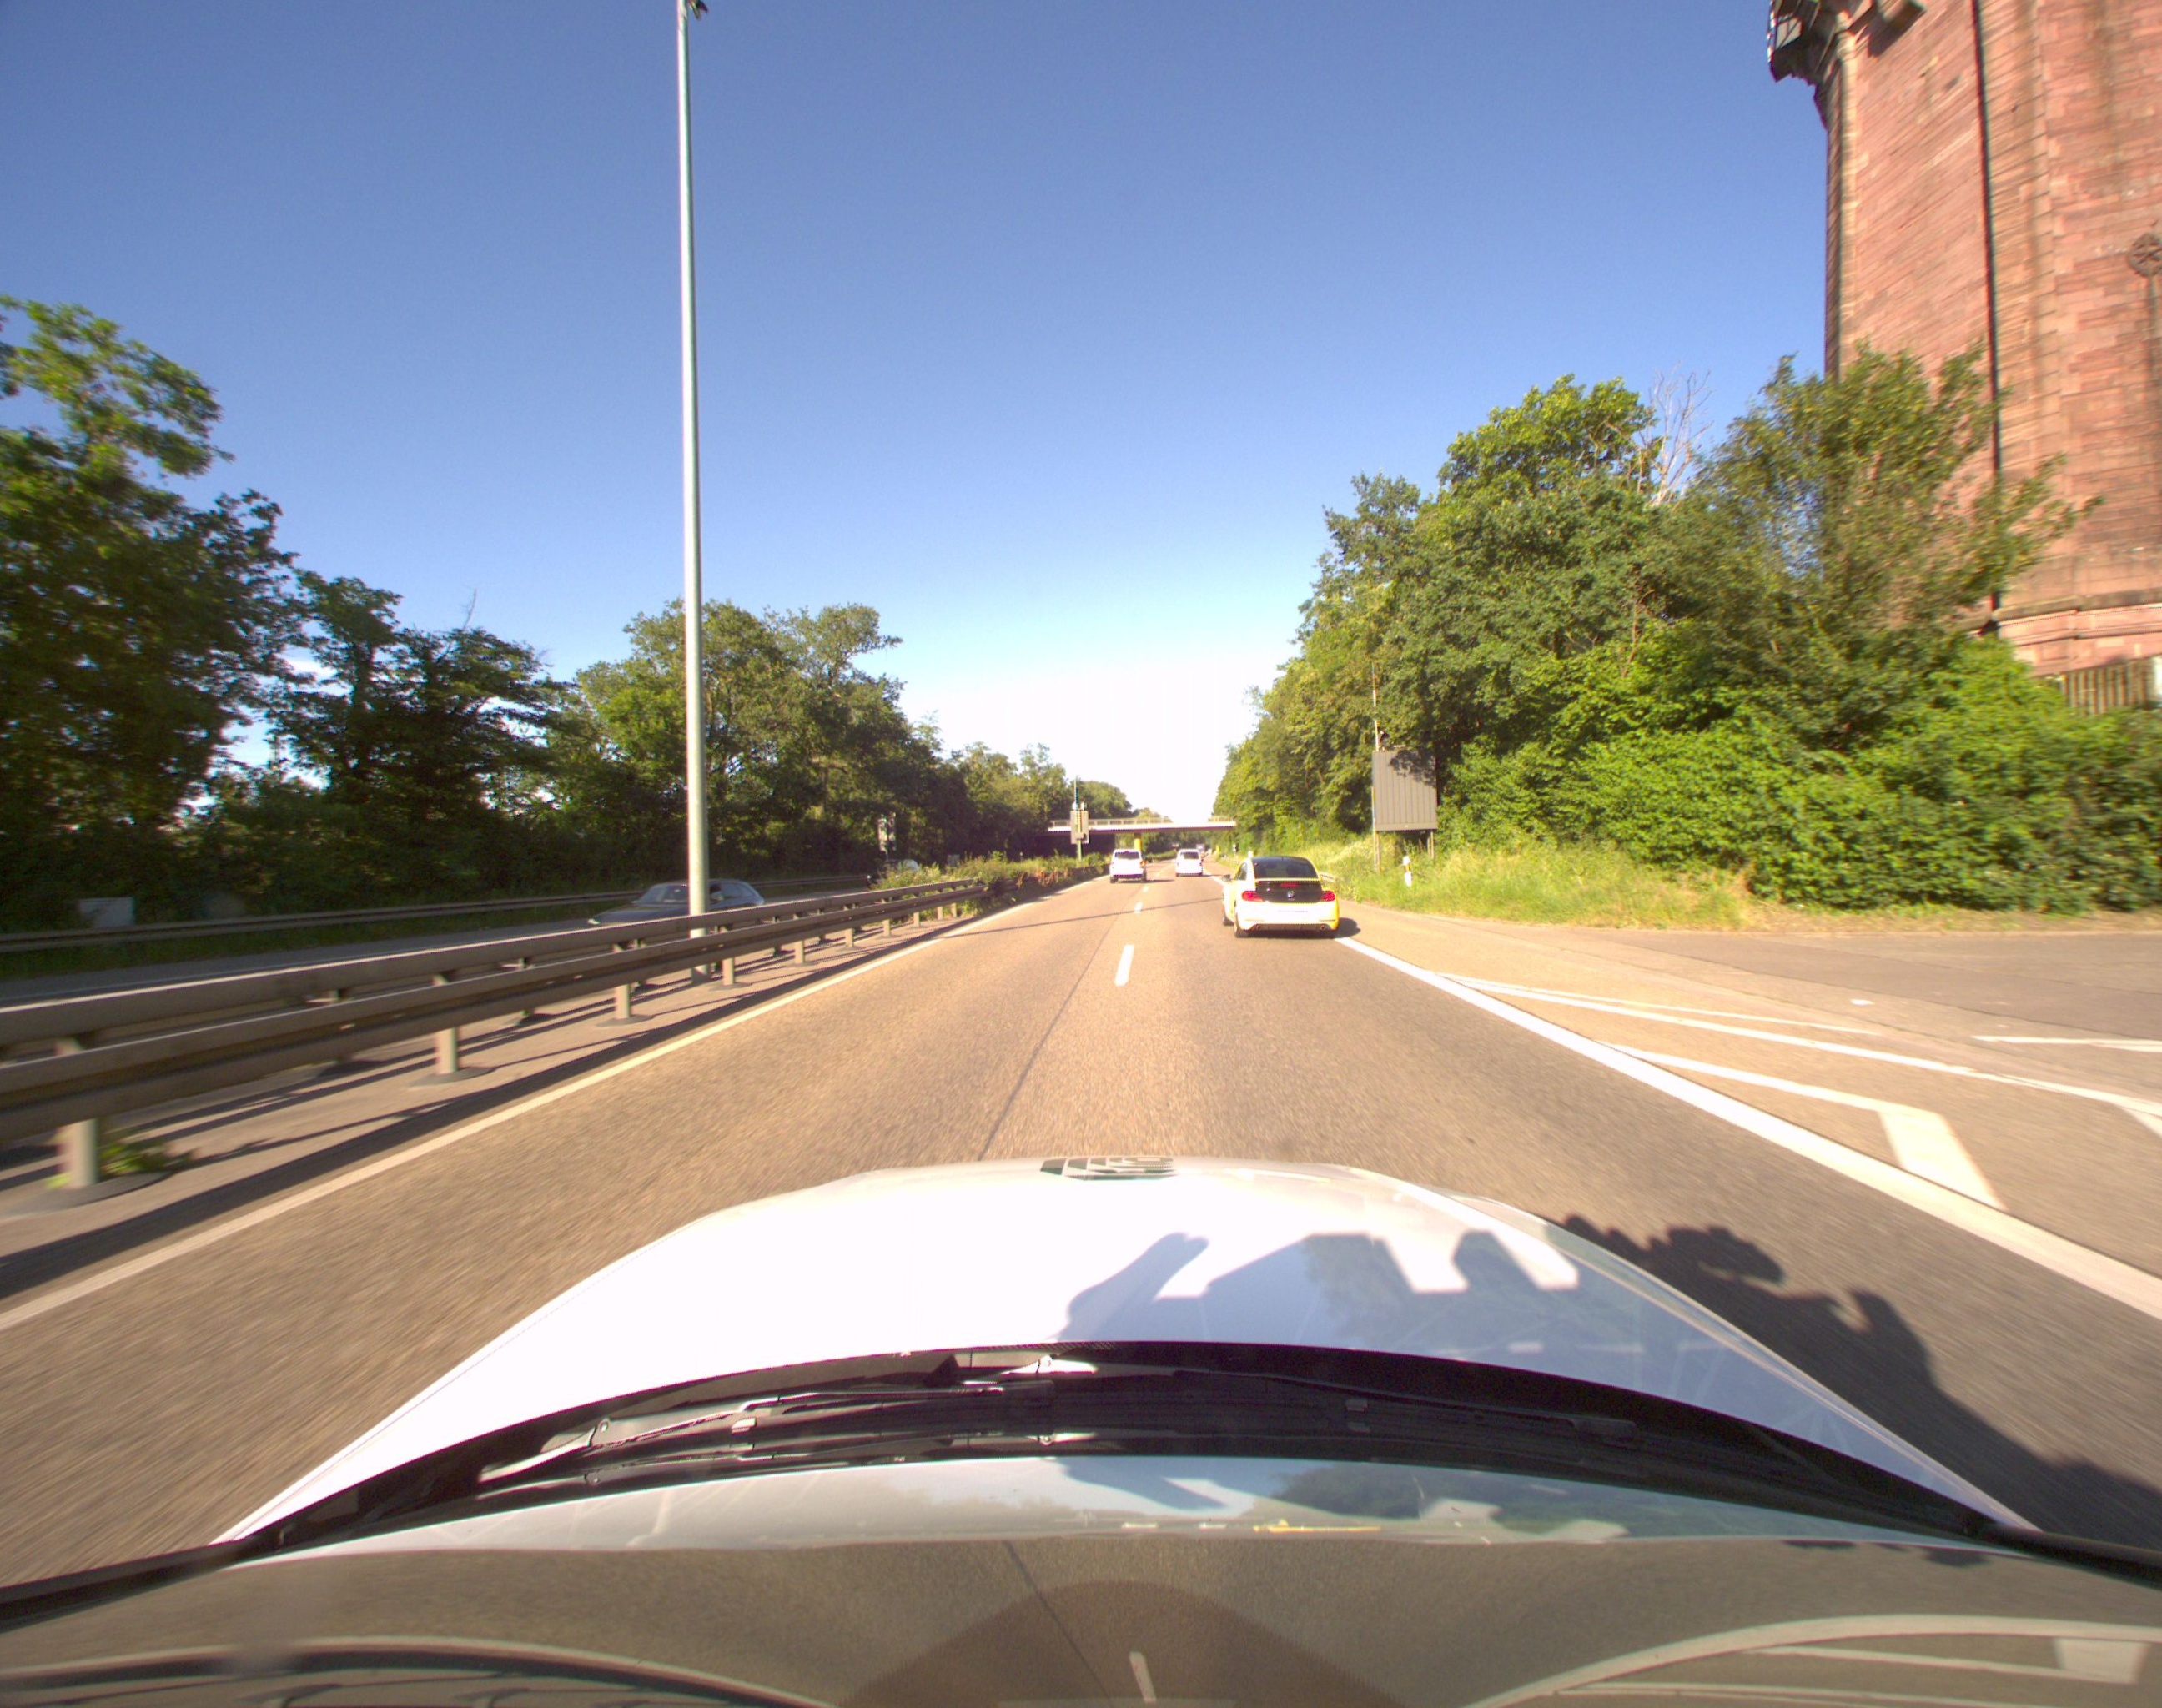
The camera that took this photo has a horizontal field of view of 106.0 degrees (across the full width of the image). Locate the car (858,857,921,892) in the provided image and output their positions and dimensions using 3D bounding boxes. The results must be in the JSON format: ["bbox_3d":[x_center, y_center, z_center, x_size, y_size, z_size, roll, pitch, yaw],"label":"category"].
[{"bbox_3d":[-10.171,1.064,43.564,1.952,1.724,4.749,-1,0,4],"label":"car"}]

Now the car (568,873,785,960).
[{"bbox_3d":[-8.392,1.213,17.541,1.952,1.467,4.881,-1,0,4],"label":"car"}]

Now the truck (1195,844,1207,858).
[{"bbox_3d":[36.794,-1.012,249.989,3.475,4.172,8.884,-2,0,9],"label":"truck"}]

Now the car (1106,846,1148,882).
[{"bbox_3d":[2.510,0.512,43.594,2.075,1.828,4.006,0,0,5],"label":"car"}]

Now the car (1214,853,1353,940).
[{"bbox_3d":[3.752,0.712,15.838,1.871,1.461,4.360,0,0,4],"label":"car"}]

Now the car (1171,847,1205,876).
[{"bbox_3d":[7.166,0.493,54.756,1.856,1.770,4.472,-2,0,3],"label":"car"}]
